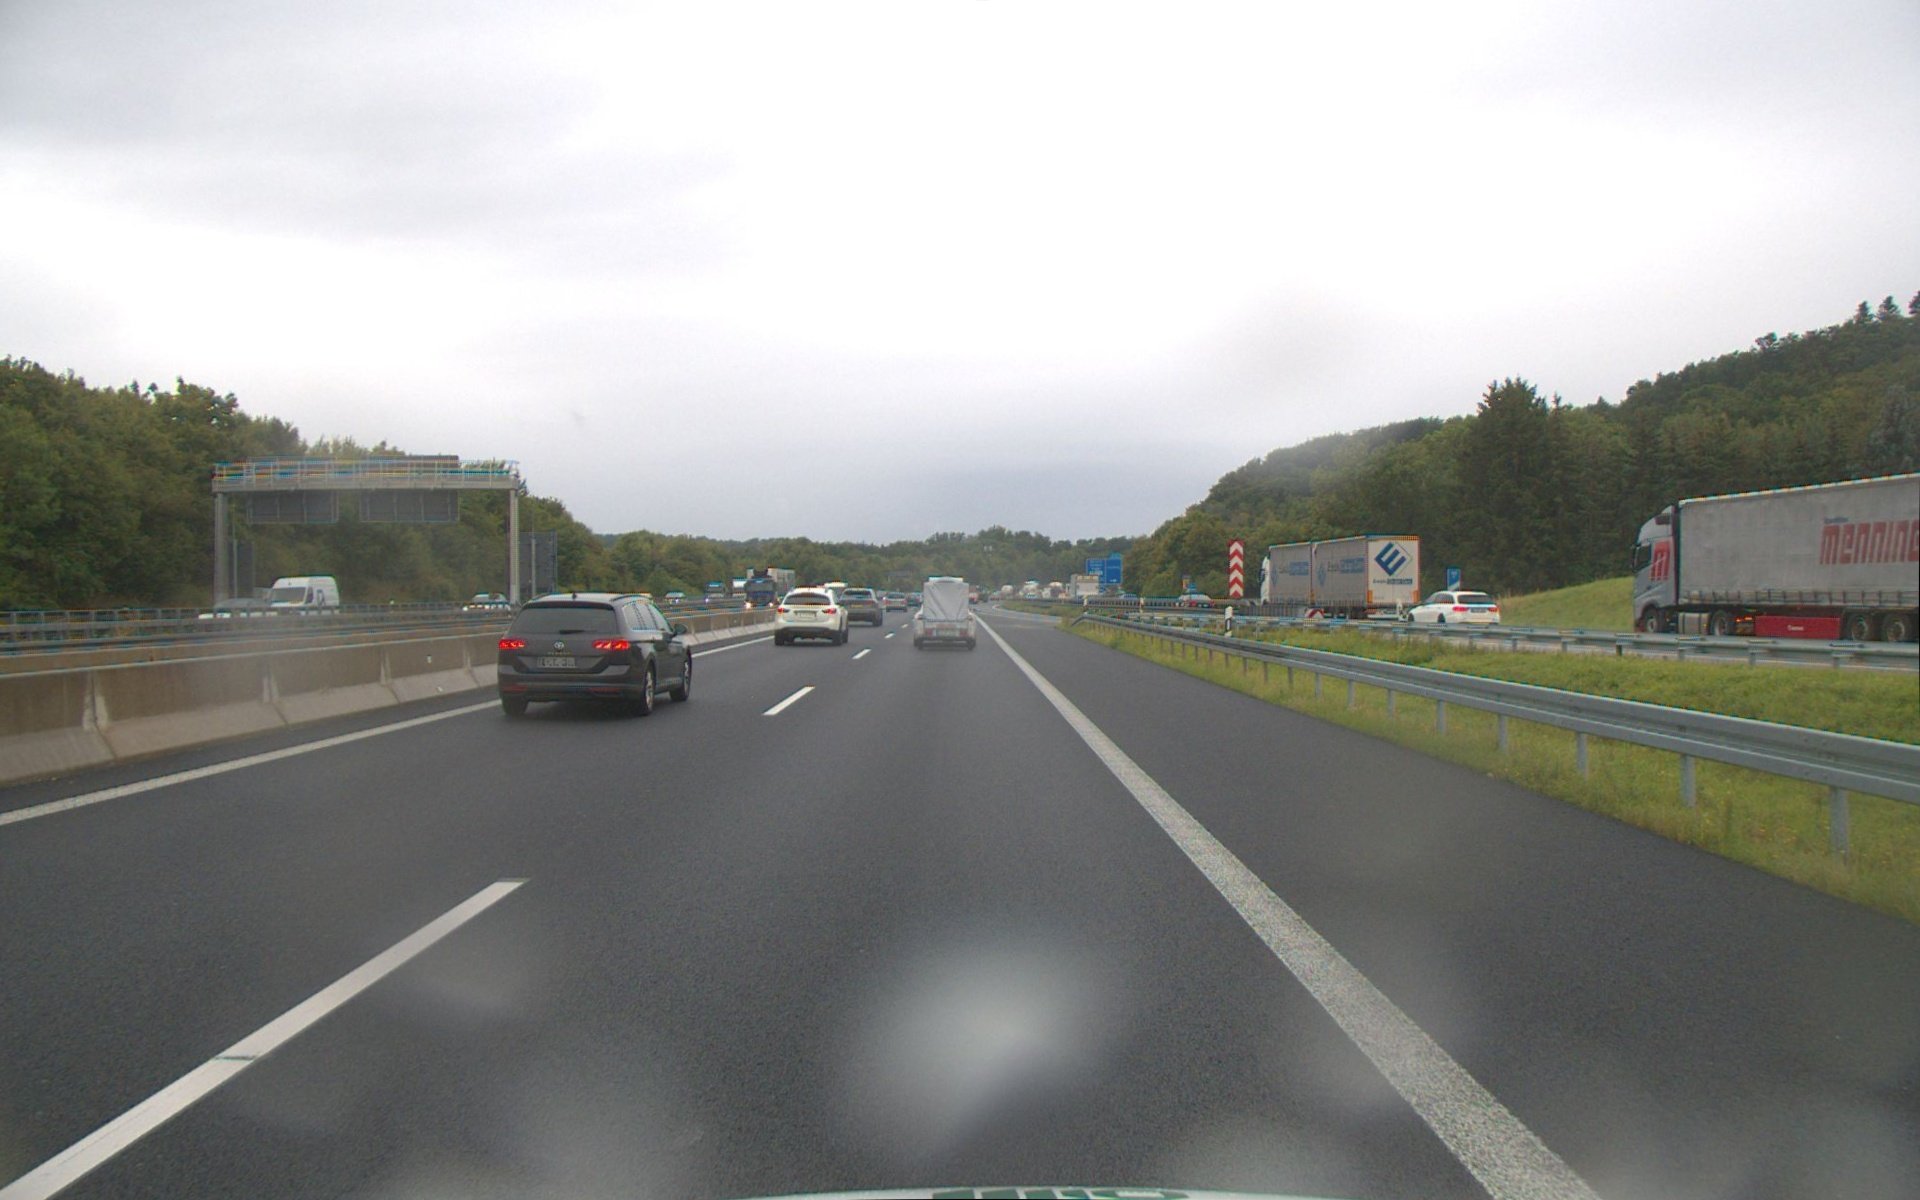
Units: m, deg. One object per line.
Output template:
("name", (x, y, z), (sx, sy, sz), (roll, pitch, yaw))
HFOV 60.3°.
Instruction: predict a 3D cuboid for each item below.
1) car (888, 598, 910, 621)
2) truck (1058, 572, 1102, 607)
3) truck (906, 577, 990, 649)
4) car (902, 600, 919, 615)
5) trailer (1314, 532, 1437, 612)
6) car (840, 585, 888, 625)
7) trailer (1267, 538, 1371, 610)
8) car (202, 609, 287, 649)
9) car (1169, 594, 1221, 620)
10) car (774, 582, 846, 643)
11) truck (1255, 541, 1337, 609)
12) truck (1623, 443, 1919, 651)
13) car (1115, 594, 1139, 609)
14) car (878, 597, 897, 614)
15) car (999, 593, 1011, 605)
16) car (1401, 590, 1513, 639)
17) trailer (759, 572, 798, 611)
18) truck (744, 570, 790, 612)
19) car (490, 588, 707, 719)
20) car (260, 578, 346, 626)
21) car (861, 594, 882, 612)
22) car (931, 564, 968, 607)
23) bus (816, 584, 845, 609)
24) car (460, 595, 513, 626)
("car", (-5.156, 0.773, 139.172), (1.703, 1.825, 4.000), (1, 0, 0))
("truck", (13.220, -1.161, 182.846), (3.750, 3.723, 8.265), (1, 0, -4))
("truck", (-0.382, 0.338, 47.275), (2.196, 1.871, 6.583), (1, 0, -1))
("car", (-5.360, 0.804, 179.919), (1.611, 1.601, 4.000), (1, 0, 0))
("trailer", (19.832, -1.294, 79.549), (3.019, 3.588, 8.072), (1, 0, -7))
("car", (-4.412, 0.213, 76.431), (1.935, 1.733, 4.801), (1, 0, -1))
("trailer", (18.918, -1.317, 87.726), (2.882, 3.588, 8.408), (1, 0, -6))
("car", (-27.698, 1.103, 64.151), (1.557, 1.450, 3.918), (1, 0, 1))
("car", (14.045, 0.403, 99.150), (1.947, 1.401, 5.314), (0, 1, -5))
("car", (-4.425, 0.341, 48.818), (2.009, 1.700, 4.536), (1, 0, -5))
("truck", (18.563, -1.370, 91.802), (2.881, 3.588, 5.921), (1, 0, -5))
("truck", (22.743, -1.181, 41.974), (3.746, 4.620, 16.865), (0, 0, -5))
("car", (14.800, 0.158, 146.787), (1.662, 1.311, 3.534), (1, 0, -1))
("car", (-7.558, 0.569, 172.517), (1.782, 1.691, 4.017), (0, 0, 0))
("car", (6.280, -0.139, 231.908), (1.611, 1.601, 4.000), (1, 0, 0))
("car", (17.401, 0.488, 58.191), (1.955, 1.645, 5.072), (0, 0, -6))
("trailer", (-17.167, -0.789, 156.967), (2.883, 3.577, 8.050), (1, 0, -1))
("truck", (-17.117, -0.757, 147.532), (2.750, 3.586, 10.641), (1, 0, 0))
("car", (-4.519, 0.603, 21.379), (1.751, 1.484, 4.802), (1, 0, 0))
("car", (-32.032, 0.089, 80.783), (1.953, 2.252, 5.715), (0, 0, -1))
("car", (-8.491, 0.242, 158.563), (1.782, 1.691, 4.017), (0, 0, 0))
("car", (-0.755, -0.988, 110.729), (2.284, 2.773, 6.538), (0, 1, -2))
("bus", (-14.296, -0.413, 183.125), (2.489, 2.631, 8.270), (1, 0, 0))
("car", (-28.411, 0.606, 99.385), (1.953, 1.767, 4.581), (-1, 0, -1))
